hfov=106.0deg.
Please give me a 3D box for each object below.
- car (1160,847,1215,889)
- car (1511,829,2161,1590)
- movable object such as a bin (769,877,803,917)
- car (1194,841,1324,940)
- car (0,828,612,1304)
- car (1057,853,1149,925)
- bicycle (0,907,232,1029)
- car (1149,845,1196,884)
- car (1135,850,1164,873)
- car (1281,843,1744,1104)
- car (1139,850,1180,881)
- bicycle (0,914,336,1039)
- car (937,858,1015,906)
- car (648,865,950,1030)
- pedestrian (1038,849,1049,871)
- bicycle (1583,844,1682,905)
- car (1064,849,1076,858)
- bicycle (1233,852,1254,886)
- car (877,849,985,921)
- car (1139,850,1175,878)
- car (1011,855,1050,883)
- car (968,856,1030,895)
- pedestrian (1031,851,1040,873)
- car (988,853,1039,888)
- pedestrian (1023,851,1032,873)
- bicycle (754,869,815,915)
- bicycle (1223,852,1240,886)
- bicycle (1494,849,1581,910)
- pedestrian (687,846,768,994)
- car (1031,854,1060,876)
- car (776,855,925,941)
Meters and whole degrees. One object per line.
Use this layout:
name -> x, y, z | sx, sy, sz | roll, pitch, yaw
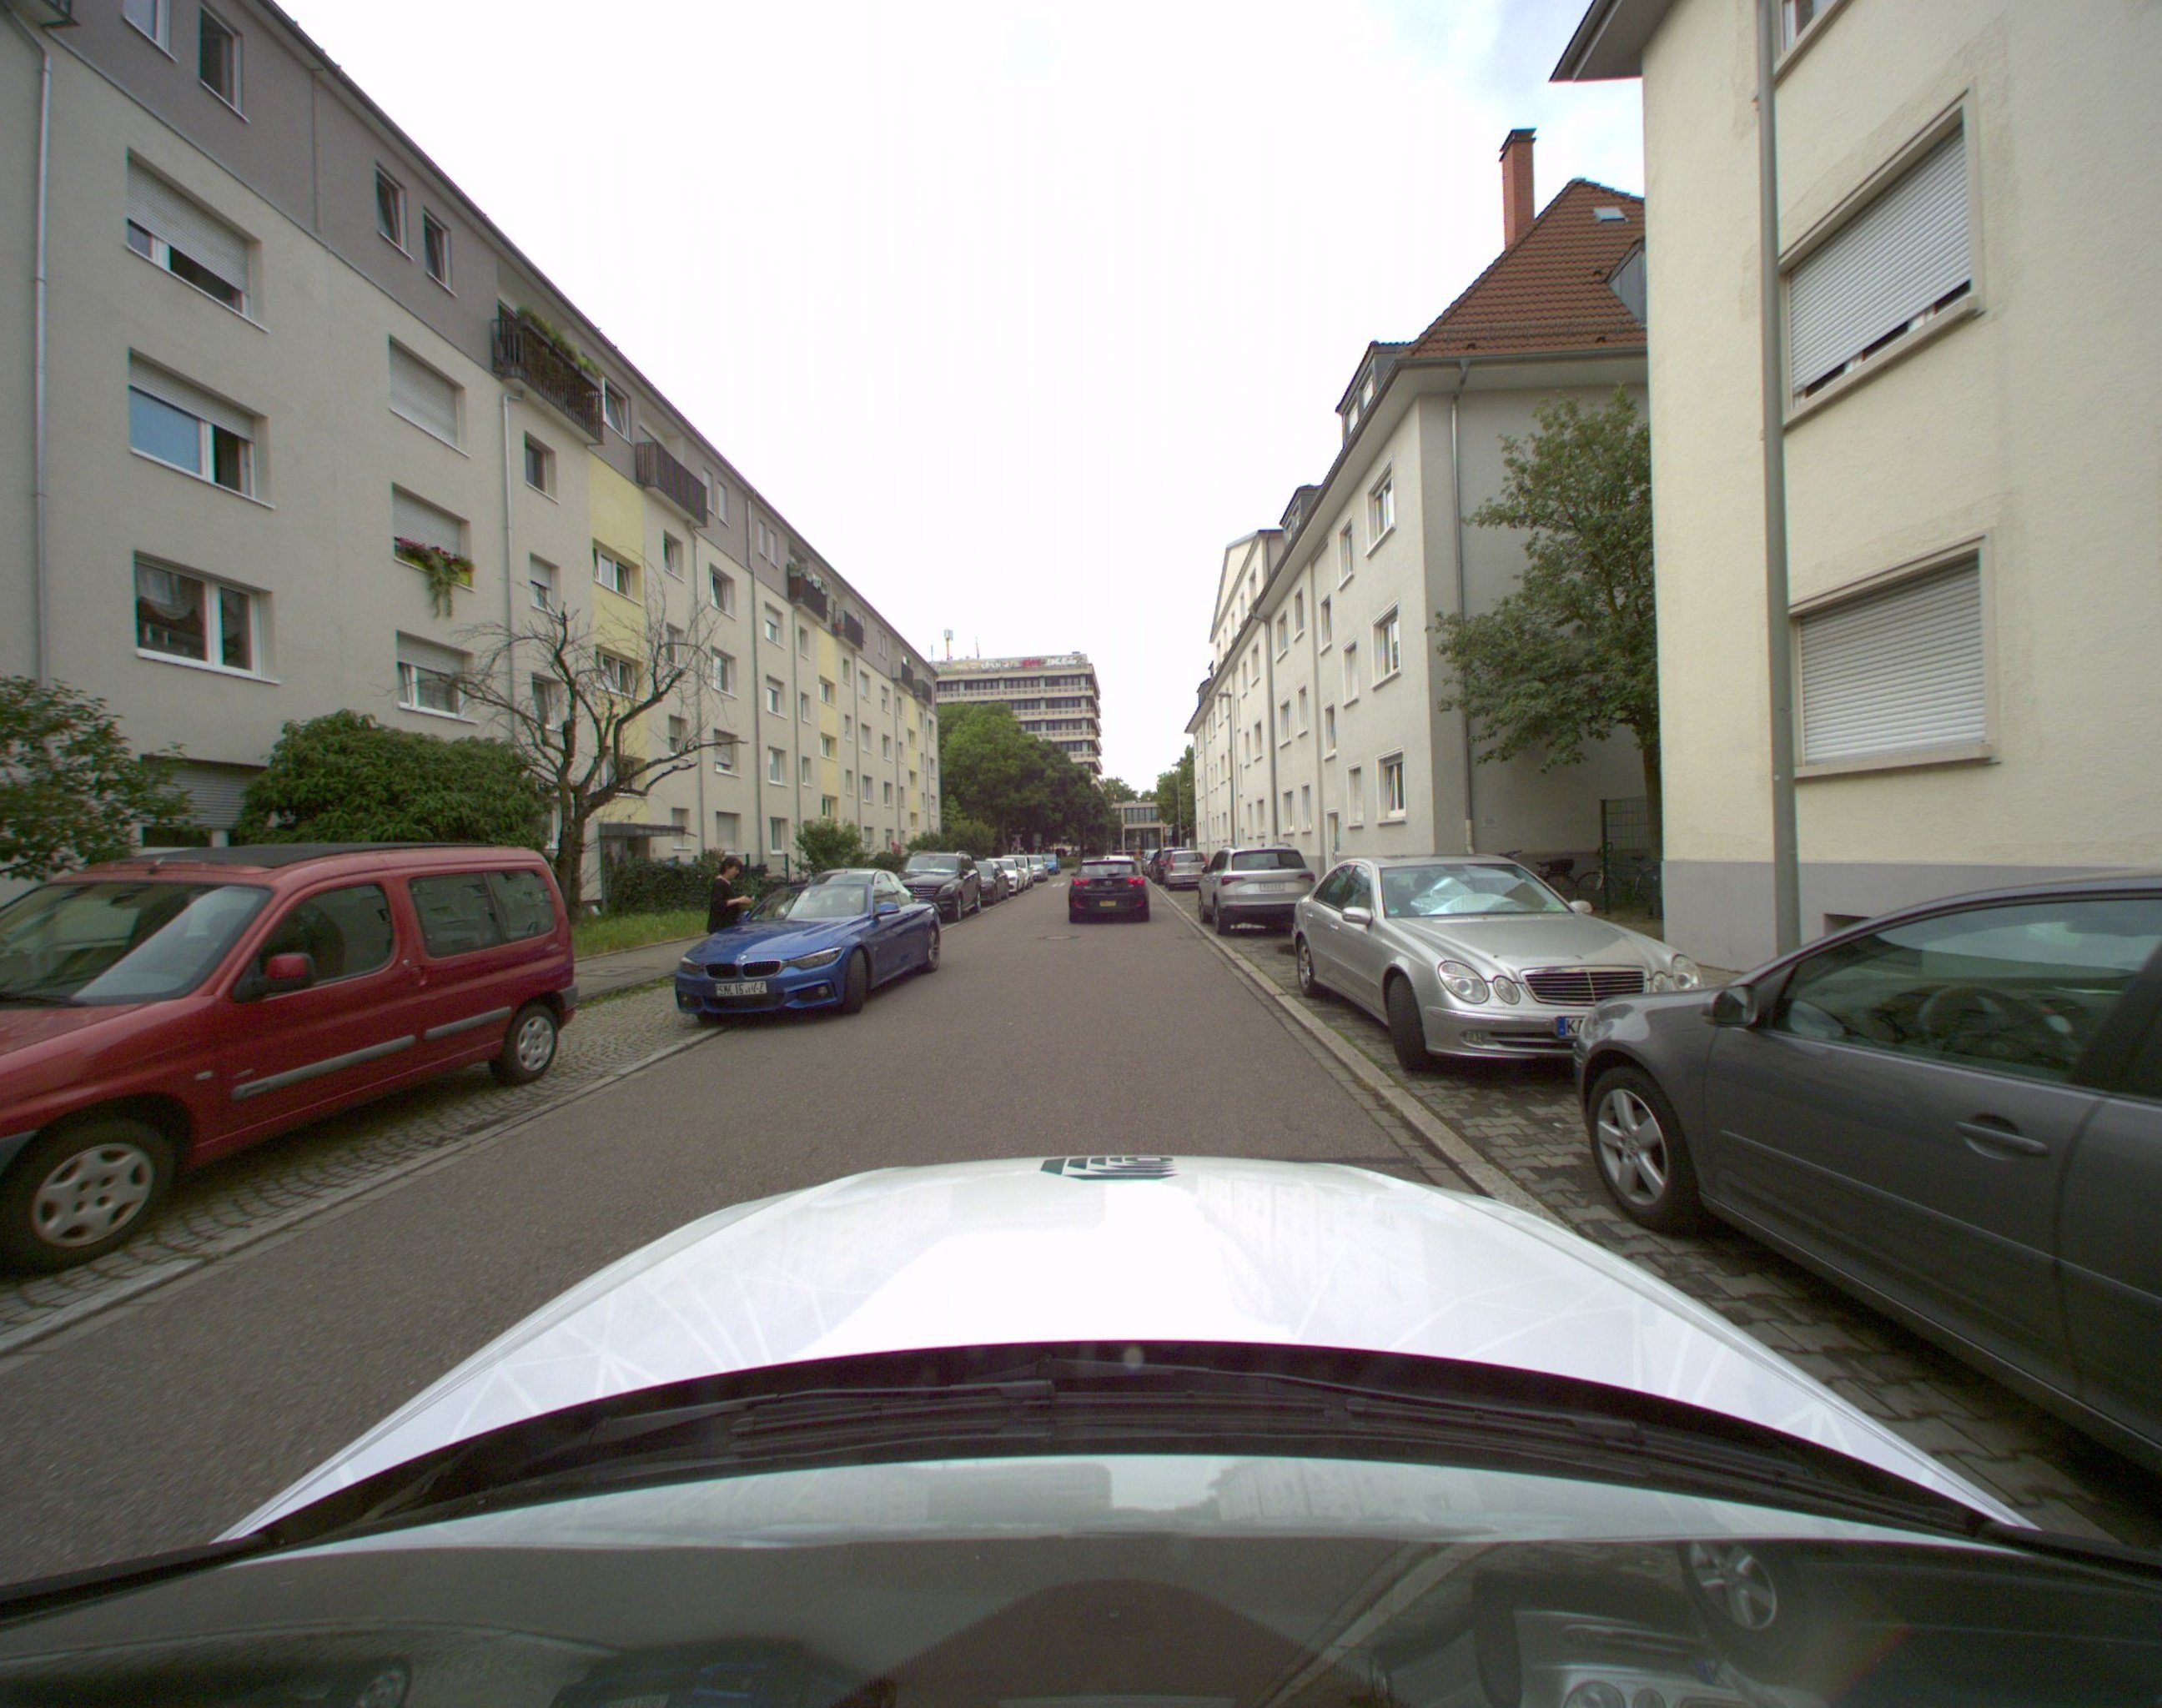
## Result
car -> 4.138, 0.511, 32.054 | 1.813, 1.503, 4.094 | -2, 0, 3
car -> 2.911, 0.674, 2.189 | 1.596, 1.476, 3.872 | -1, 0, 2
movable object such as a bin -> -7.419, 1.072, 20.510 | 0.549, 0.954, 0.636 | -3, 0, 2
car -> 3.284, 0.603, 15.785 | 1.813, 1.642, 4.094 | -1, 0, 3
car -> -4.994, 0.797, 4.746 | 1.950, 1.770, 4.361 | -1, 0, 0
car -> 0.574, 0.742, 19.214 | 1.895, 1.433, 4.236 | -2, 0, 3
bicycle -> -10.416, 1.140, 8.202 | 0.774, 0.999, 2.757 | -2, 0, 1
car -> 4.065, 0.443, 36.724 | 1.813, 1.603, 4.094 | -2, 0, 3
car -> 4.935, 0.550, 59.181 | 1.813, 1.519, 4.675 | -2, -1, 2
car -> 3.023, 0.680, 6.925 | 1.718, 1.476, 4.508 | -1, 0, 3
car -> 4.087, 0.559, 42.839 | 1.813, 1.519, 4.675 | -2, 0, 2
bicycle -> -9.213, 1.155, 8.337 | 0.569, 0.848, 2.757 | -2, 0, 1
car -> -3.511, 0.889, 28.080 | 1.887, 1.452, 4.669 | 1, 0, 2
car -> -3.022, 0.917, 9.906 | 1.837, 1.451, 4.505 | -1, 0, 4
pedestrian -> -3.050, 0.490, 66.393 | 0.710, 1.831, 0.798 | -1, 0, 4
bicycle -> 10.147, 0.379, 15.005 | 1.442, 1.062, 0.498 | -2, 0, 4
car -> -1.723, -0.112, 131.912 | 1.659, 1.333, 3.398 | -1, 0, 2
bicycle -> 6.003, 0.525, 30.161 | 0.573, 1.175, 2.041 | -3, 0, 8
car -> -3.893, 0.744, 21.934 | 1.887, 1.740, 4.477 | 1, 0, 2
car -> 4.491, 0.551, 48.795 | 1.813, 1.519, 4.676 | -2, 0, 2
car -> -2.934, 0.849, 47.881 | 1.987, 1.541, 4.000 | -1, 0, 0
car -> -3.310, 0.827, 33.647 | 1.887, 1.452, 4.524 | 1, 0, 2
pedestrian -> -3.732, 0.659, 66.718 | 0.602, 1.831, 0.676 | -1, 0, 4
car -> -3.202, 0.759, 39.572 | 1.887, 1.599, 4.524 | 1, 0, 2
pedestrian -> -4.399, 0.638, 66.430 | 0.598, 1.713, 0.649 | -1, 0, 4
bicycle -> -8.658, 1.084, 23.923 | 0.785, 1.212, 2.357 | -2, 0, 2
bicycle -> 5.572, 0.531, 30.211 | 0.527, 1.175, 2.041 | -3, 0, 8
bicycle -> 8.391, 0.467, 15.000 | 1.287, 1.062, 0.498 | -2, 0, 4
pedestrian -> -4.334, 0.776, 10.031 | 0.742, 1.701, 0.792 | -2, 0, -15
car -> -2.595, 0.792, 60.203 | 1.987, 1.541, 4.000 | -1, 0, 0
car -> -4.466, 0.785, 16.400 | 1.737, 1.464, 3.788 | -2, 0, 2
